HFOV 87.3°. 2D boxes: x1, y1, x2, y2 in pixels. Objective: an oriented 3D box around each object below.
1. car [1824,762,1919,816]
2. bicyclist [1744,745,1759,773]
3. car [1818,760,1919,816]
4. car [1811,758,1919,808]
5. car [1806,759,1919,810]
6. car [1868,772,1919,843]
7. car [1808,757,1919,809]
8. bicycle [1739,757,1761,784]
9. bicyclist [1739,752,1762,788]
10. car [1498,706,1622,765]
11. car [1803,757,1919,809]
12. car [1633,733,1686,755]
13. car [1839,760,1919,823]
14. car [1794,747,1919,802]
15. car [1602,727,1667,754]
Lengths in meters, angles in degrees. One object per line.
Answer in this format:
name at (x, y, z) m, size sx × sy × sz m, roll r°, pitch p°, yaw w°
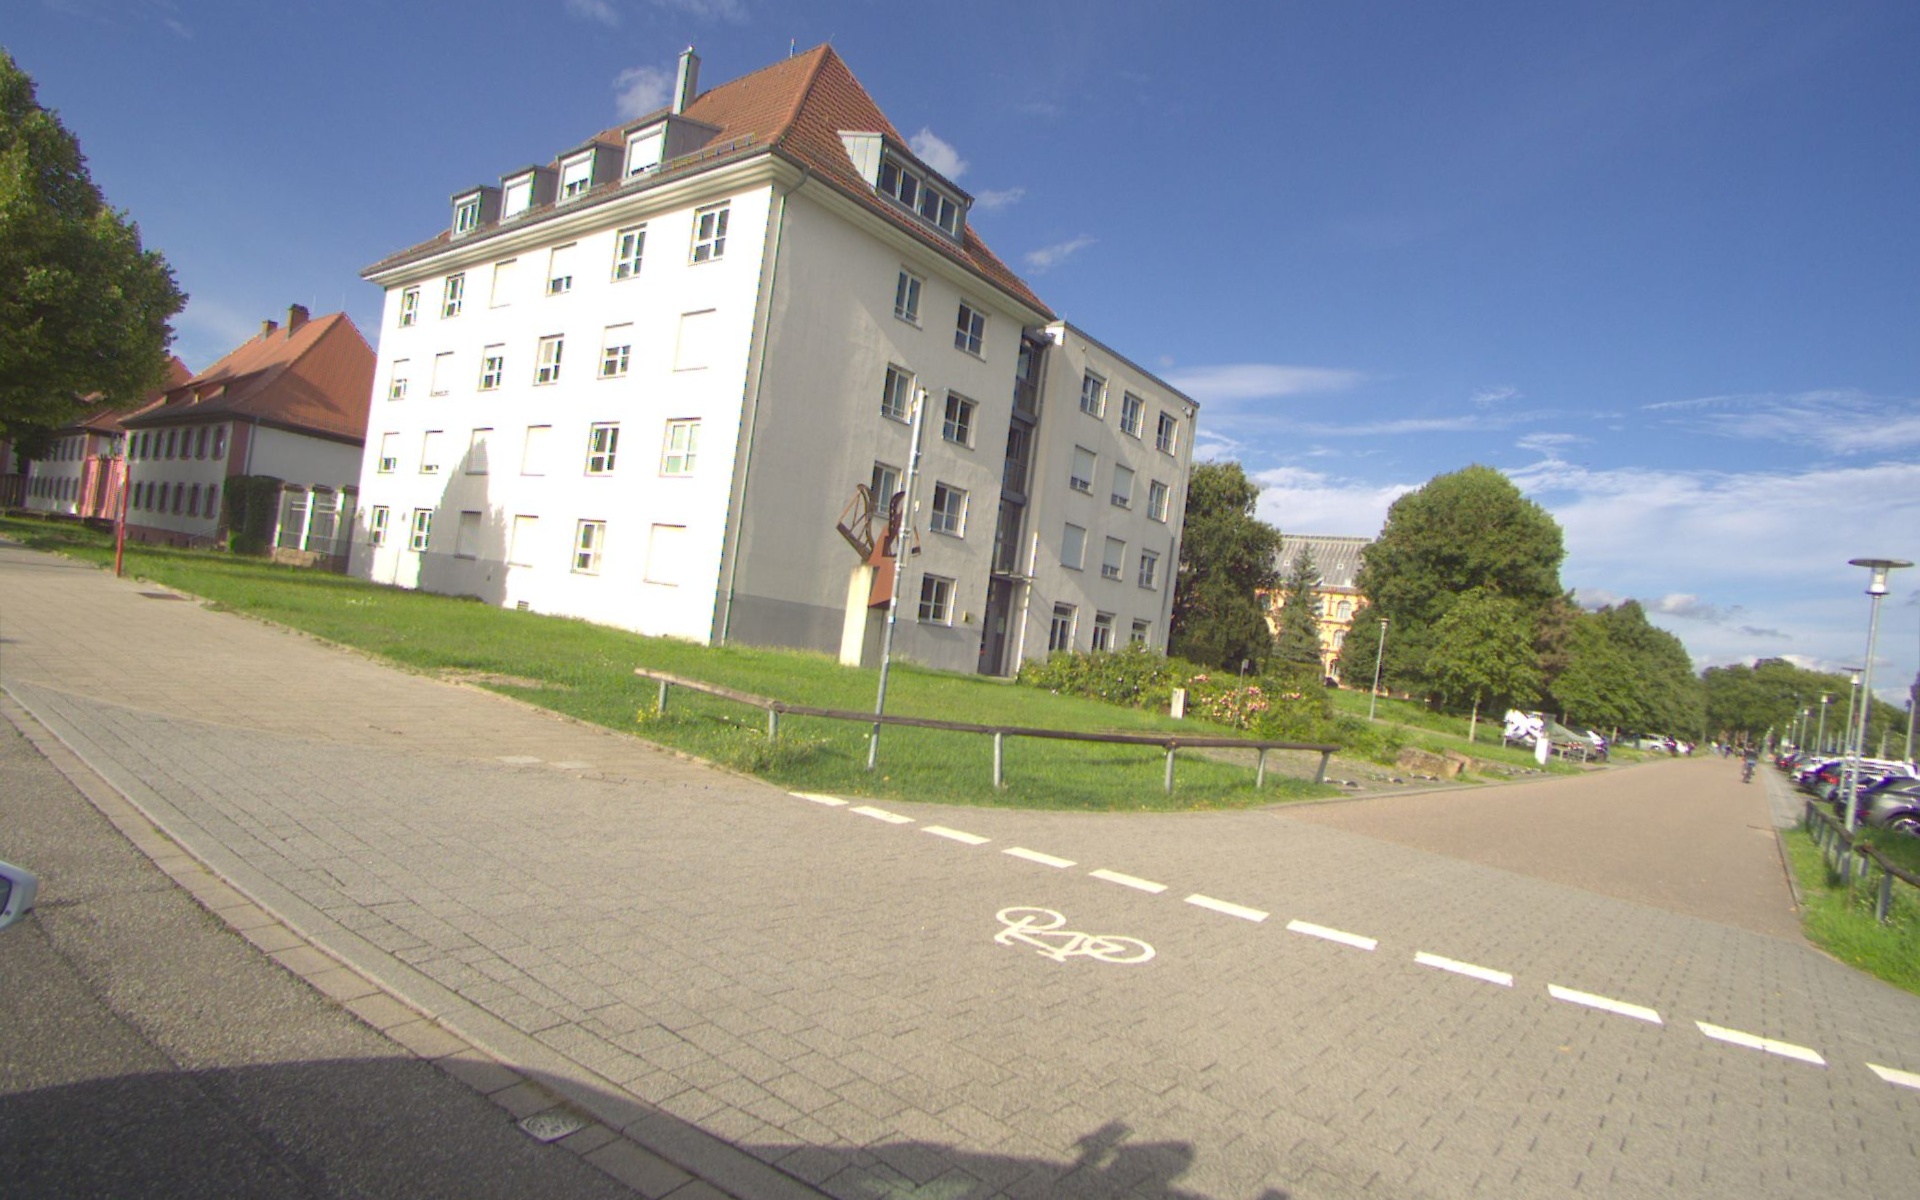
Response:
car at (33.725, 6.866, 35.569) m, size 4.667 × 1.375 × 1.854 m, roll 6°, pitch -2°, yaw 41°
bicyclist at (39.113, 7.849, 49.713) m, size 0.446 × 1.259 × 0.848 m, roll 7°, pitch -1°, yaw 38°
car at (35.157, 7.147, 37.495) m, size 4.681 × 1.533 × 1.854 m, roll 6°, pitch -2°, yaw 41°
car at (38.366, 7.667, 41.839) m, size 4.406 × 1.378 × 1.854 m, roll 6°, pitch -2°, yaw 41°
car at (41.271, 8.358, 45.519) m, size 4.406 × 1.533 × 1.854 m, roll 6°, pitch -2°, yaw 41°
car at (22.794, 4.846, 21.786) m, size 4.452 × 1.397 × 1.854 m, roll 6°, pitch -2°, yaw 41°
car at (39.837, 7.954, 43.366) m, size 4.875 × 1.533 × 1.854 m, roll 6°, pitch -2°, yaw 41°
bicycle at (38.997, 8.381, 49.647) m, size 0.761 × 1.150 × 2.143 m, roll 6°, pitch -2°, yaw 38°
bicyclist at (38.993, 8.380, 49.640) m, size 0.761 × 1.593 × 0.957 m, roll 6°, pitch -1°, yaw 39°
car at (29.010, 6.535, 48.724) m, size 4.747 × 2.034 × 1.871 m, roll 5°, pitch -5°, yaw 43°
car at (36.672, 7.351, 39.955) m, size 4.766 × 1.373 × 1.854 m, roll 6°, pitch -2°, yaw 41°
car at (66.451, 13.660, 95.630) m, size 3.942 × 1.351 × 1.775 m, roll 6°, pitch -2°, yaw 39°
car at (29.658, 6.015, 30.267) m, size 4.667 × 1.533 × 1.854 m, roll 6°, pitch -2°, yaw 41°
car at (49.024, 9.478, 54.970) m, size 5.046 × 2.030 × 2.306 m, roll 6°, pitch -2°, yaw 44°
car at (51.628, 10.744, 77.016) m, size 3.942 × 1.351 × 1.775 m, roll 6°, pitch -2°, yaw 39°
